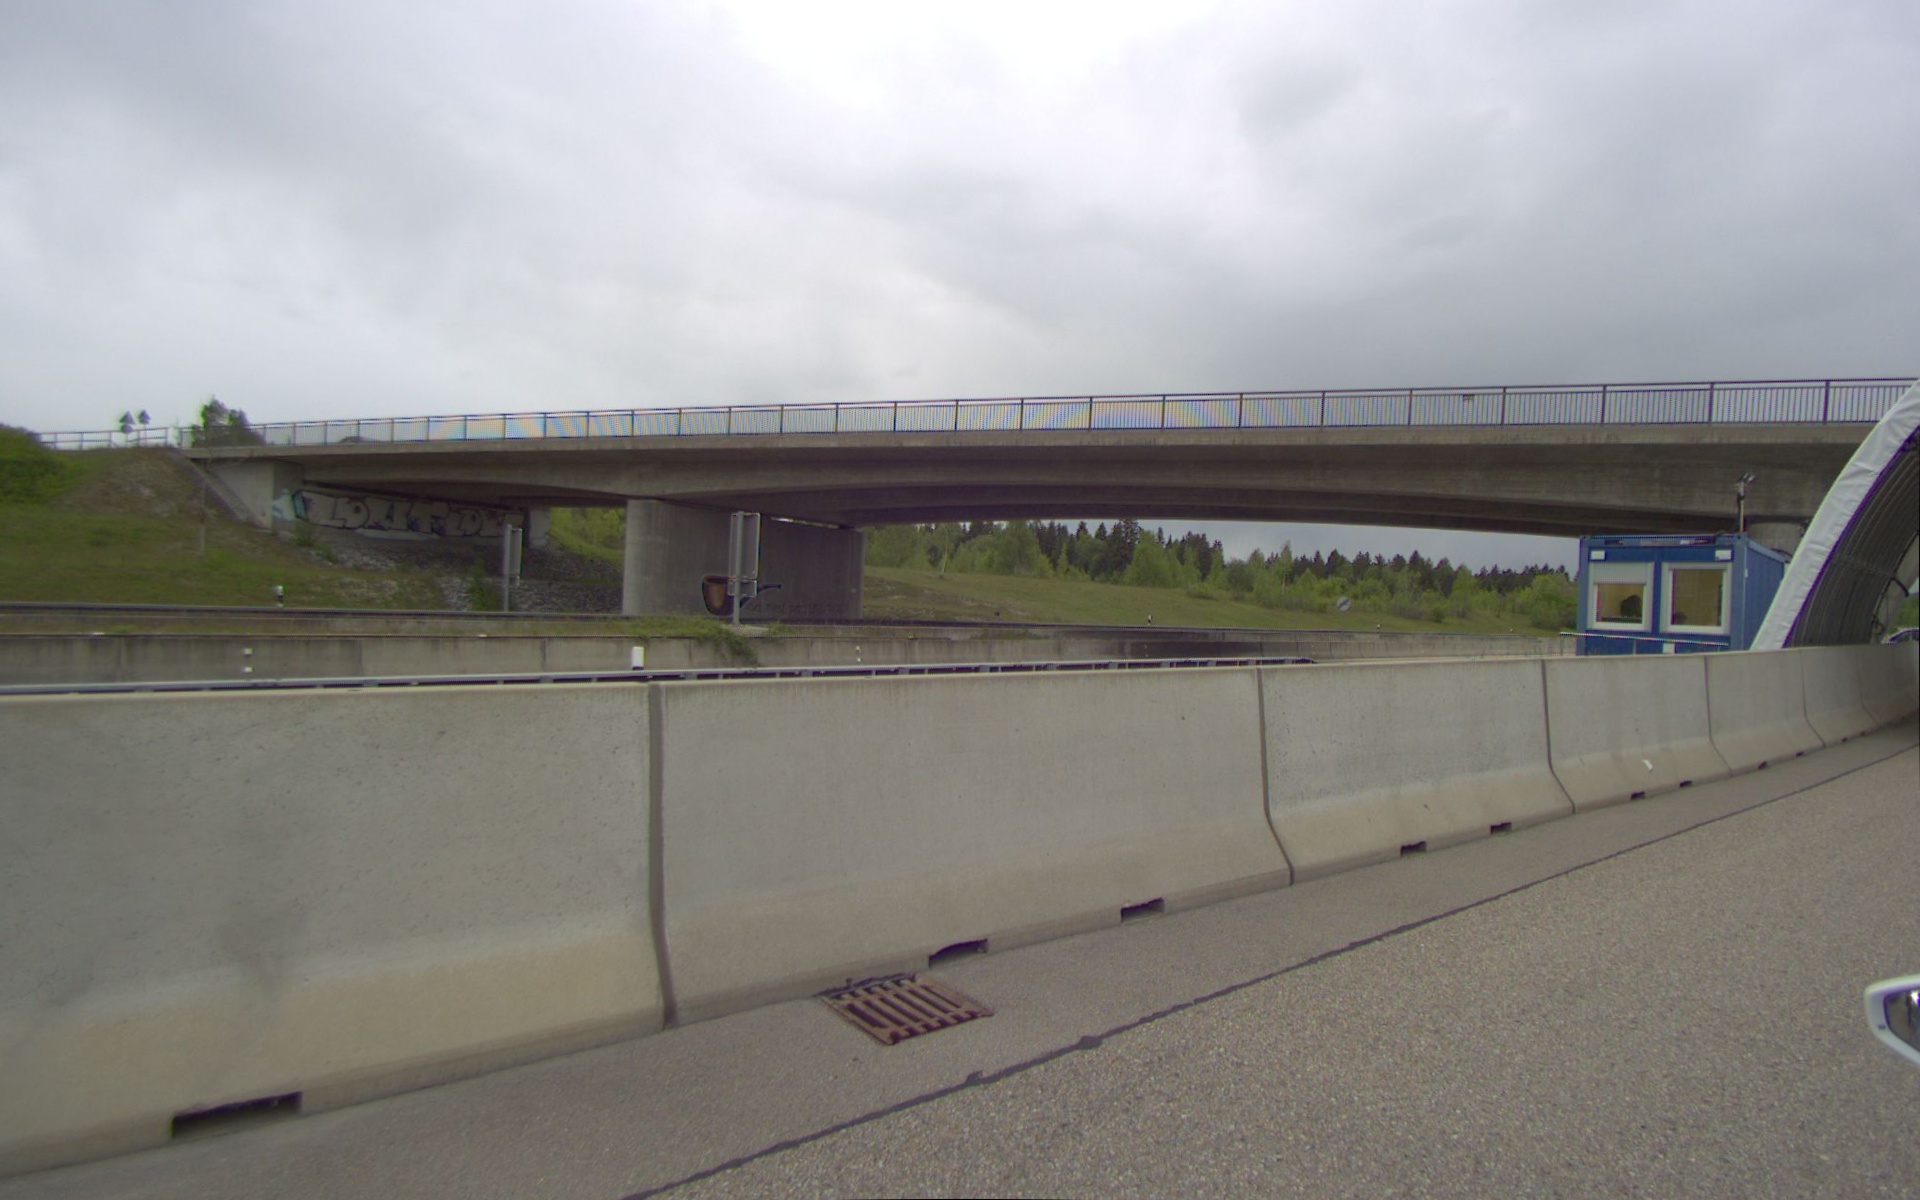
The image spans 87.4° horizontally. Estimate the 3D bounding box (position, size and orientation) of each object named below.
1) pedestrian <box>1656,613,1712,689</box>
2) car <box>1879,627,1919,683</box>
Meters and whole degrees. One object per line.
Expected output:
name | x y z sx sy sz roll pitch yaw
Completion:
pedestrian | 13.623 0.955 18.899 0.618 1.391 0.609 2 -1 -21
car | 36.689 2.052 36.341 1.814 2.040 4.797 2 -1 -22
